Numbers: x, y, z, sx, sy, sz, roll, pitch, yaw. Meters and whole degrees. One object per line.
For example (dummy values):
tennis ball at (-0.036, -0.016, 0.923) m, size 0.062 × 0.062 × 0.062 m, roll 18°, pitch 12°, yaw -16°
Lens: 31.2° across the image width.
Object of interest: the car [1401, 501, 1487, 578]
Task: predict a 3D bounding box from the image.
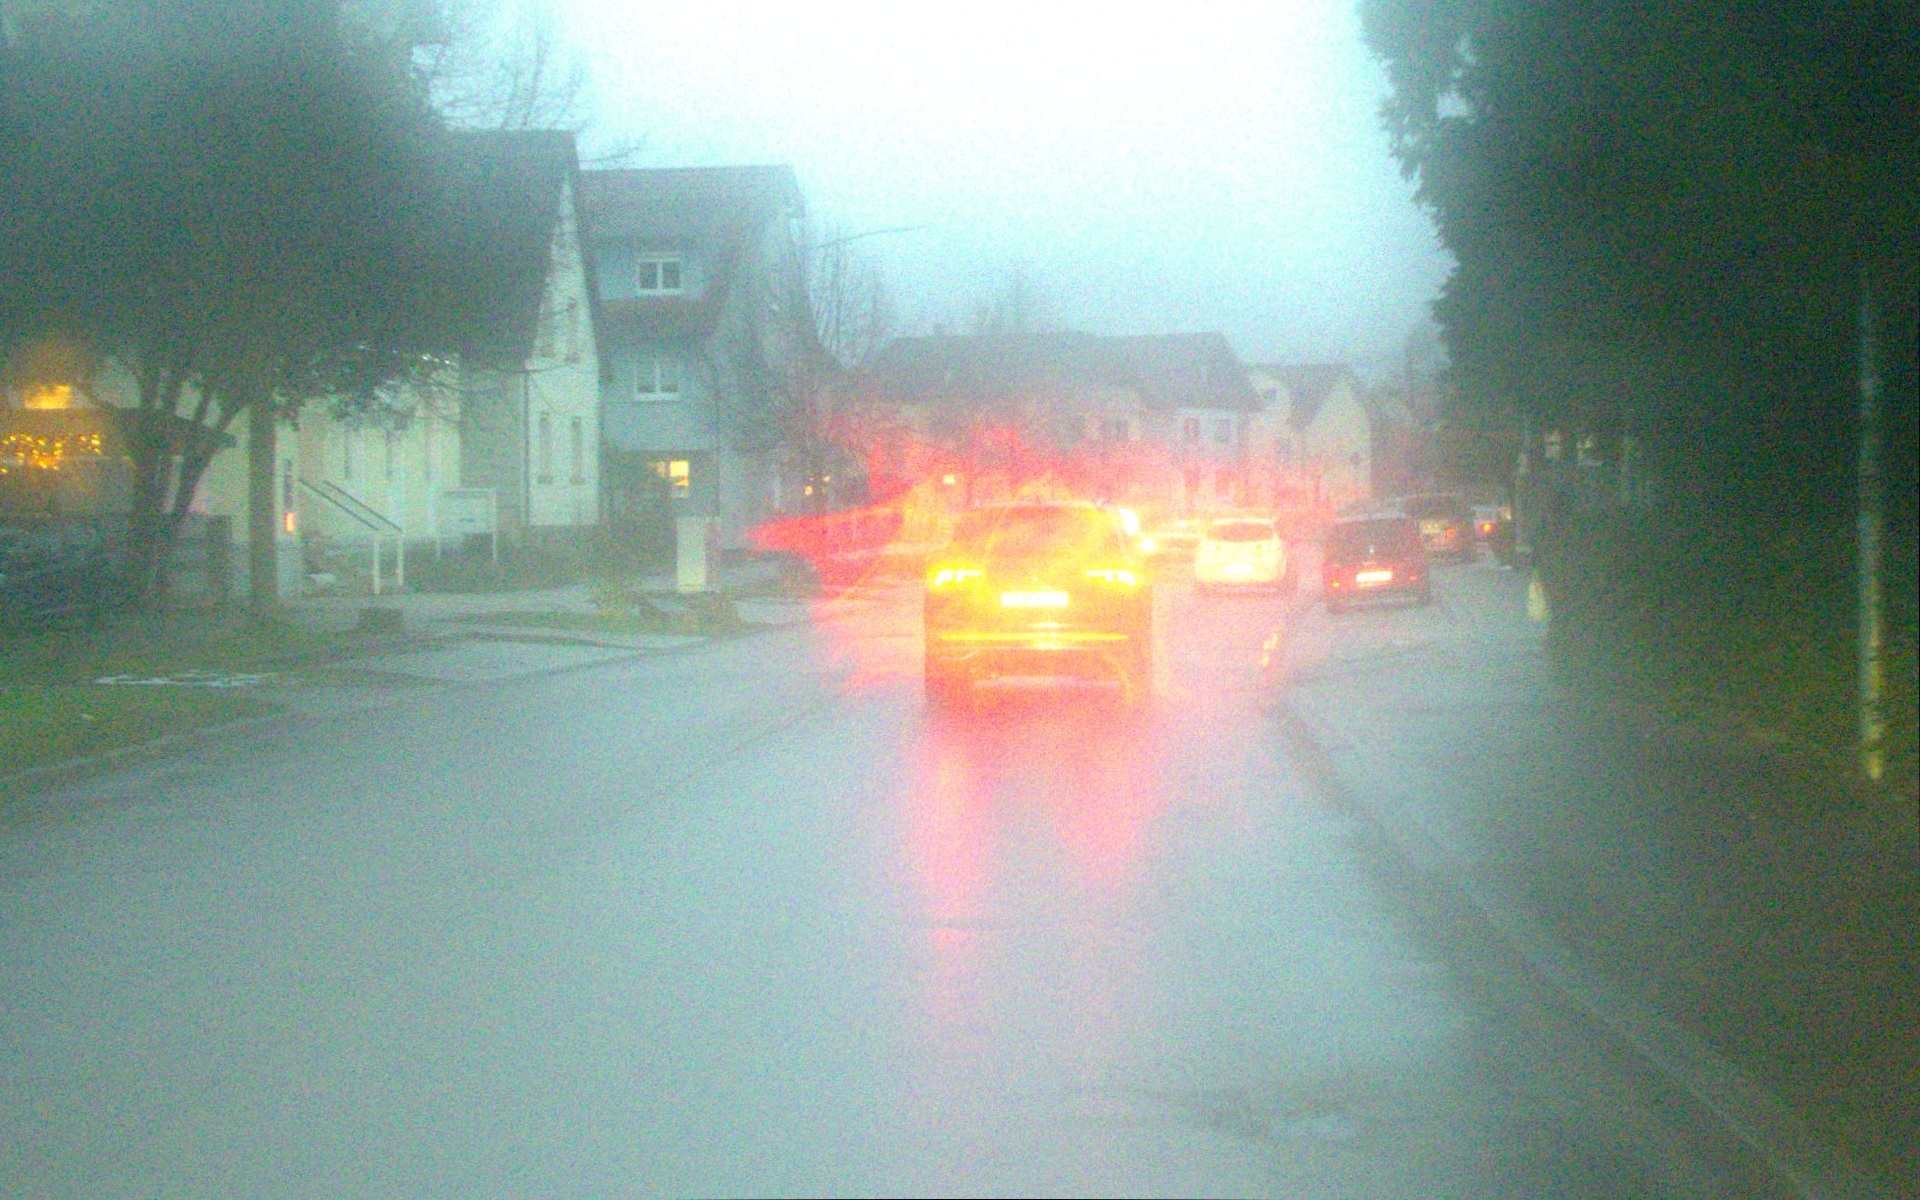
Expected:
car at (13.222, -1.662, 93.658) m, size 1.978 × 2.007 × 5.743 m, roll -1°, pitch 1°, yaw 11°

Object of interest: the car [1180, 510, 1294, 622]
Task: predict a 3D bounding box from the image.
car at (5.293, -0.642, 65.335) m, size 1.994 × 2.007 × 3.999 m, roll 2°, pitch 1°, yaw 6°

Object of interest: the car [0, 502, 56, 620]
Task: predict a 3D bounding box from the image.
car at (-12.016, -0.469, 39.308) m, size 1.782 × 1.361 × 3.999 m, roll 2°, pitch 1°, yaw 9°

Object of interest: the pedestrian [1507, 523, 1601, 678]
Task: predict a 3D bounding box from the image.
pedestrian at (6.800, -0.003, 39.387) m, size 0.988 × 1.736 × 1.055 m, roll -1°, pitch 1°, yaw 8°

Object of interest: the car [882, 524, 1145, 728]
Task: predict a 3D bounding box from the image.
car at (0.499, 0.167, 28.499) m, size 1.994 × 1.520 × 4.000 m, roll 1°, pitch 1°, yaw 3°

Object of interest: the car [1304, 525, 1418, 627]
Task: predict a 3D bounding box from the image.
car at (6.354, -0.386, 54.267) m, size 1.650 × 1.535 × 3.389 m, roll 1°, pitch 1°, yaw 8°
